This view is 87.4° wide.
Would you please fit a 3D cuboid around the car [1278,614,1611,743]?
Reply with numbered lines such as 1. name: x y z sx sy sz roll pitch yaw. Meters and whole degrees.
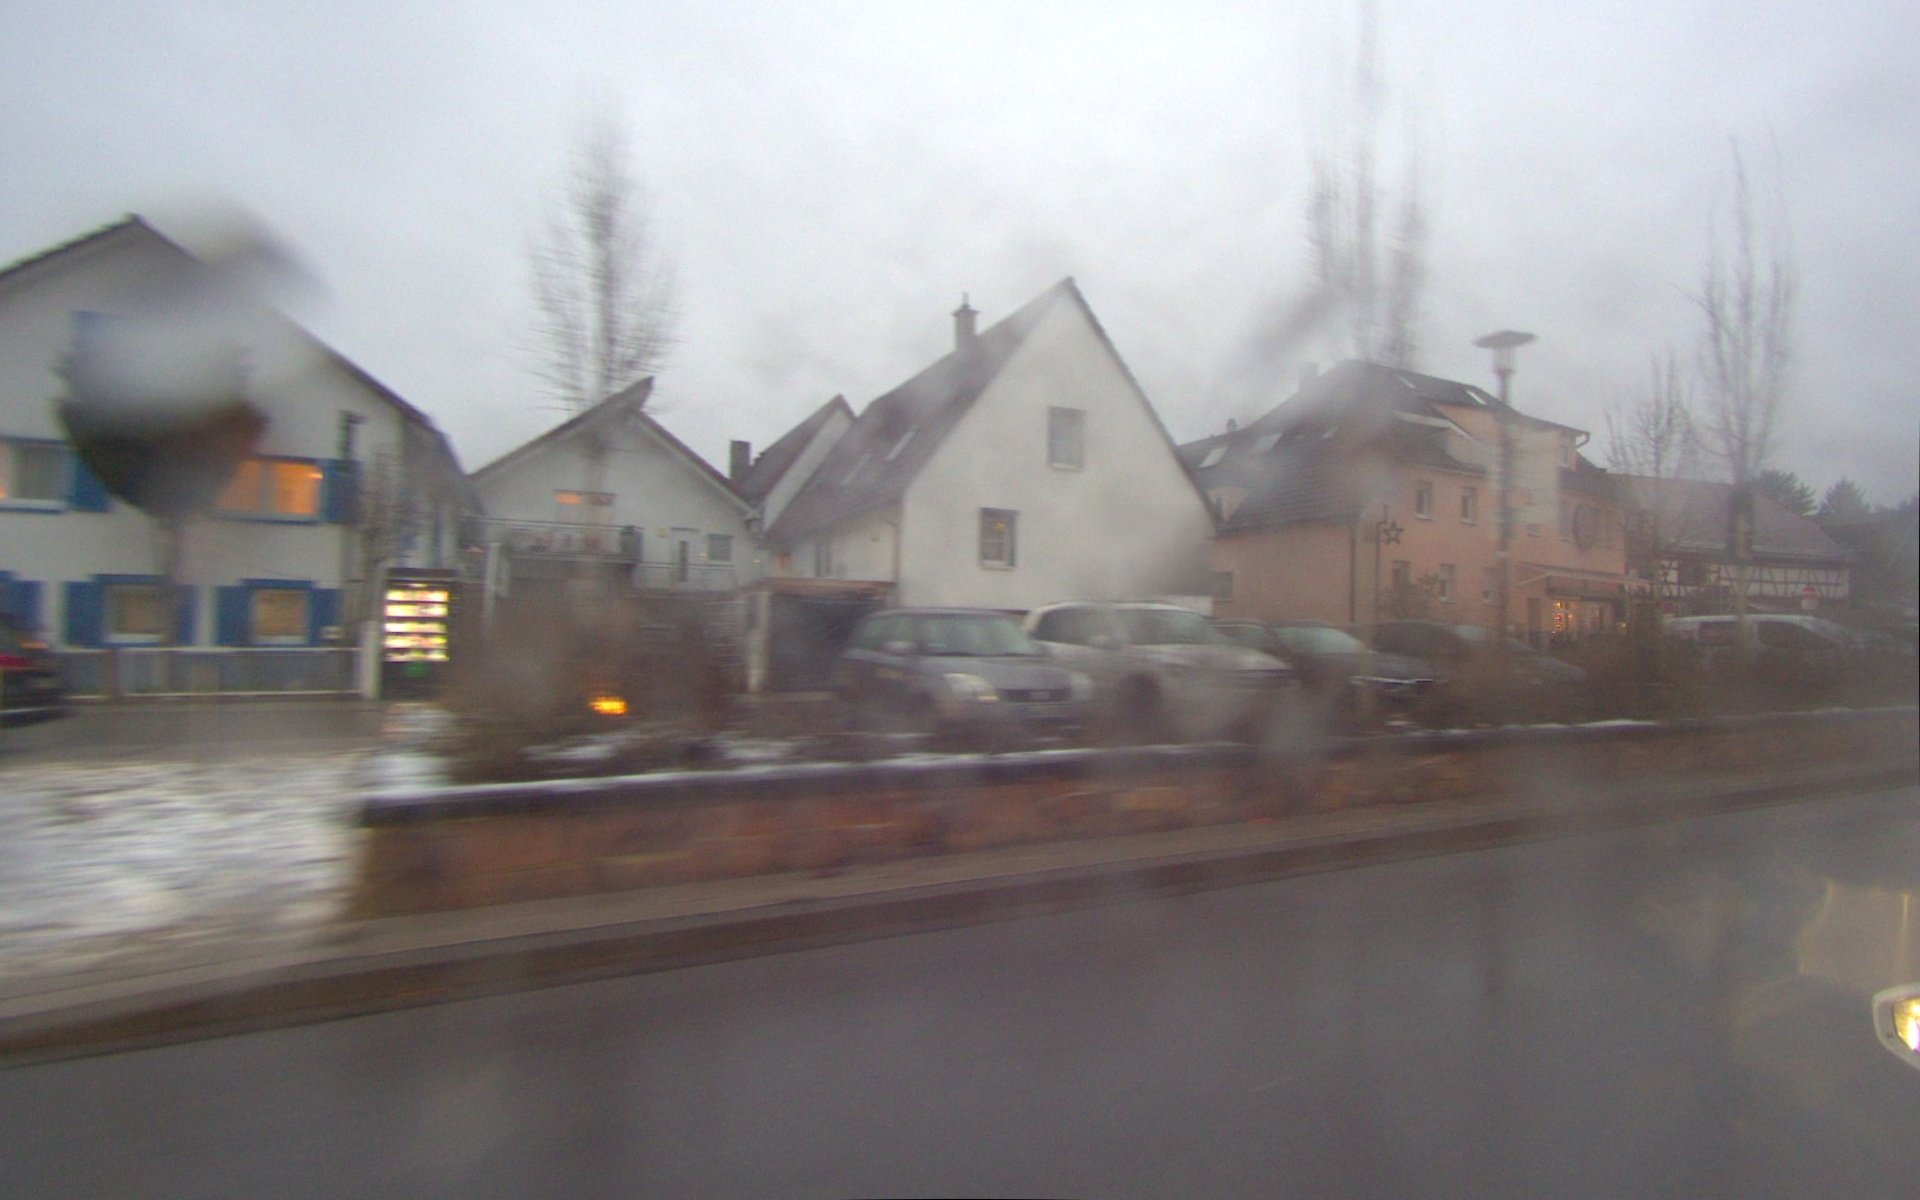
1. car: 6.885 1.057 14.771 1.854 1.517 4.114 4 -1 -25

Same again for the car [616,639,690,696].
1. car: -9.405 2.023 30.600 1.890 1.516 3.924 2 -2 -20

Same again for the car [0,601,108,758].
1. car: -11.277 0.765 9.542 4.512 1.502 1.796 1 -2 -27

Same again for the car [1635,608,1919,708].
1. car: 16.234 1.041 19.665 1.977 1.689 4.603 2 -1 -30

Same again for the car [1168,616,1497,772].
1. car: 4.580 1.066 13.023 1.566 1.629 4.081 2 -1 -25

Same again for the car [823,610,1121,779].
1. car: -0.045 0.809 10.265 1.581 1.390 3.430 1 0 -29

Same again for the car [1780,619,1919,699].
1. car: 20.823 1.283 21.996 1.635 1.665 4.156 2 -1 -24

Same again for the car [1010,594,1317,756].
1. car: 2.141 0.755 11.663 1.689 1.543 3.787 2 -1 -21
